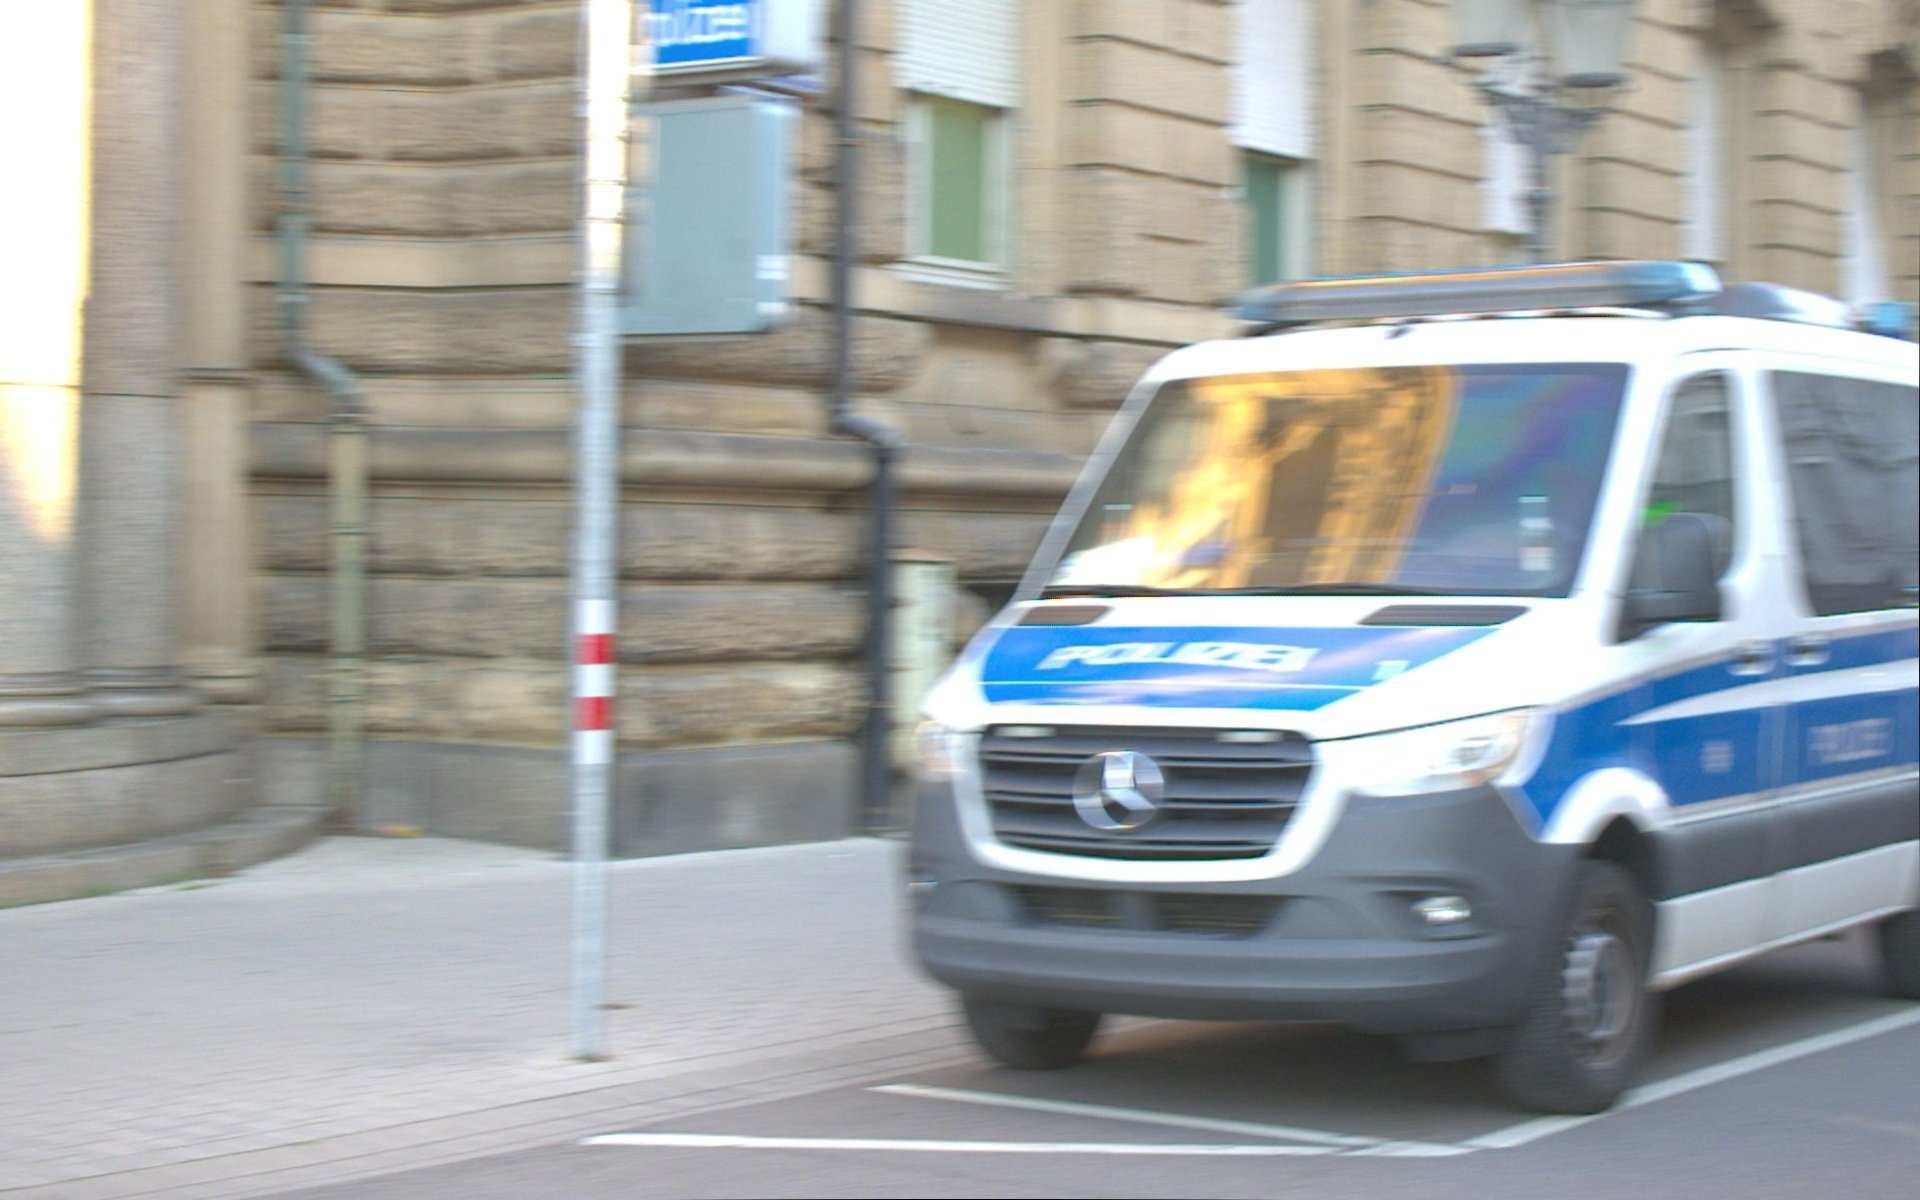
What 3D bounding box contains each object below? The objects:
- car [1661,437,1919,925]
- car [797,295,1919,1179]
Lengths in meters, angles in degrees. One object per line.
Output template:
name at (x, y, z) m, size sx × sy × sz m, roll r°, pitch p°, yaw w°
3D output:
car at (5.470, 0.343, 16.860) m, size 1.998 × 2.080 × 5.196 m, roll 1°, pitch 1°, yaw 36°
car at (1.813, 0.293, 11.127) m, size 1.997 × 2.164 × 5.197 m, roll 2°, pitch 1°, yaw 33°
